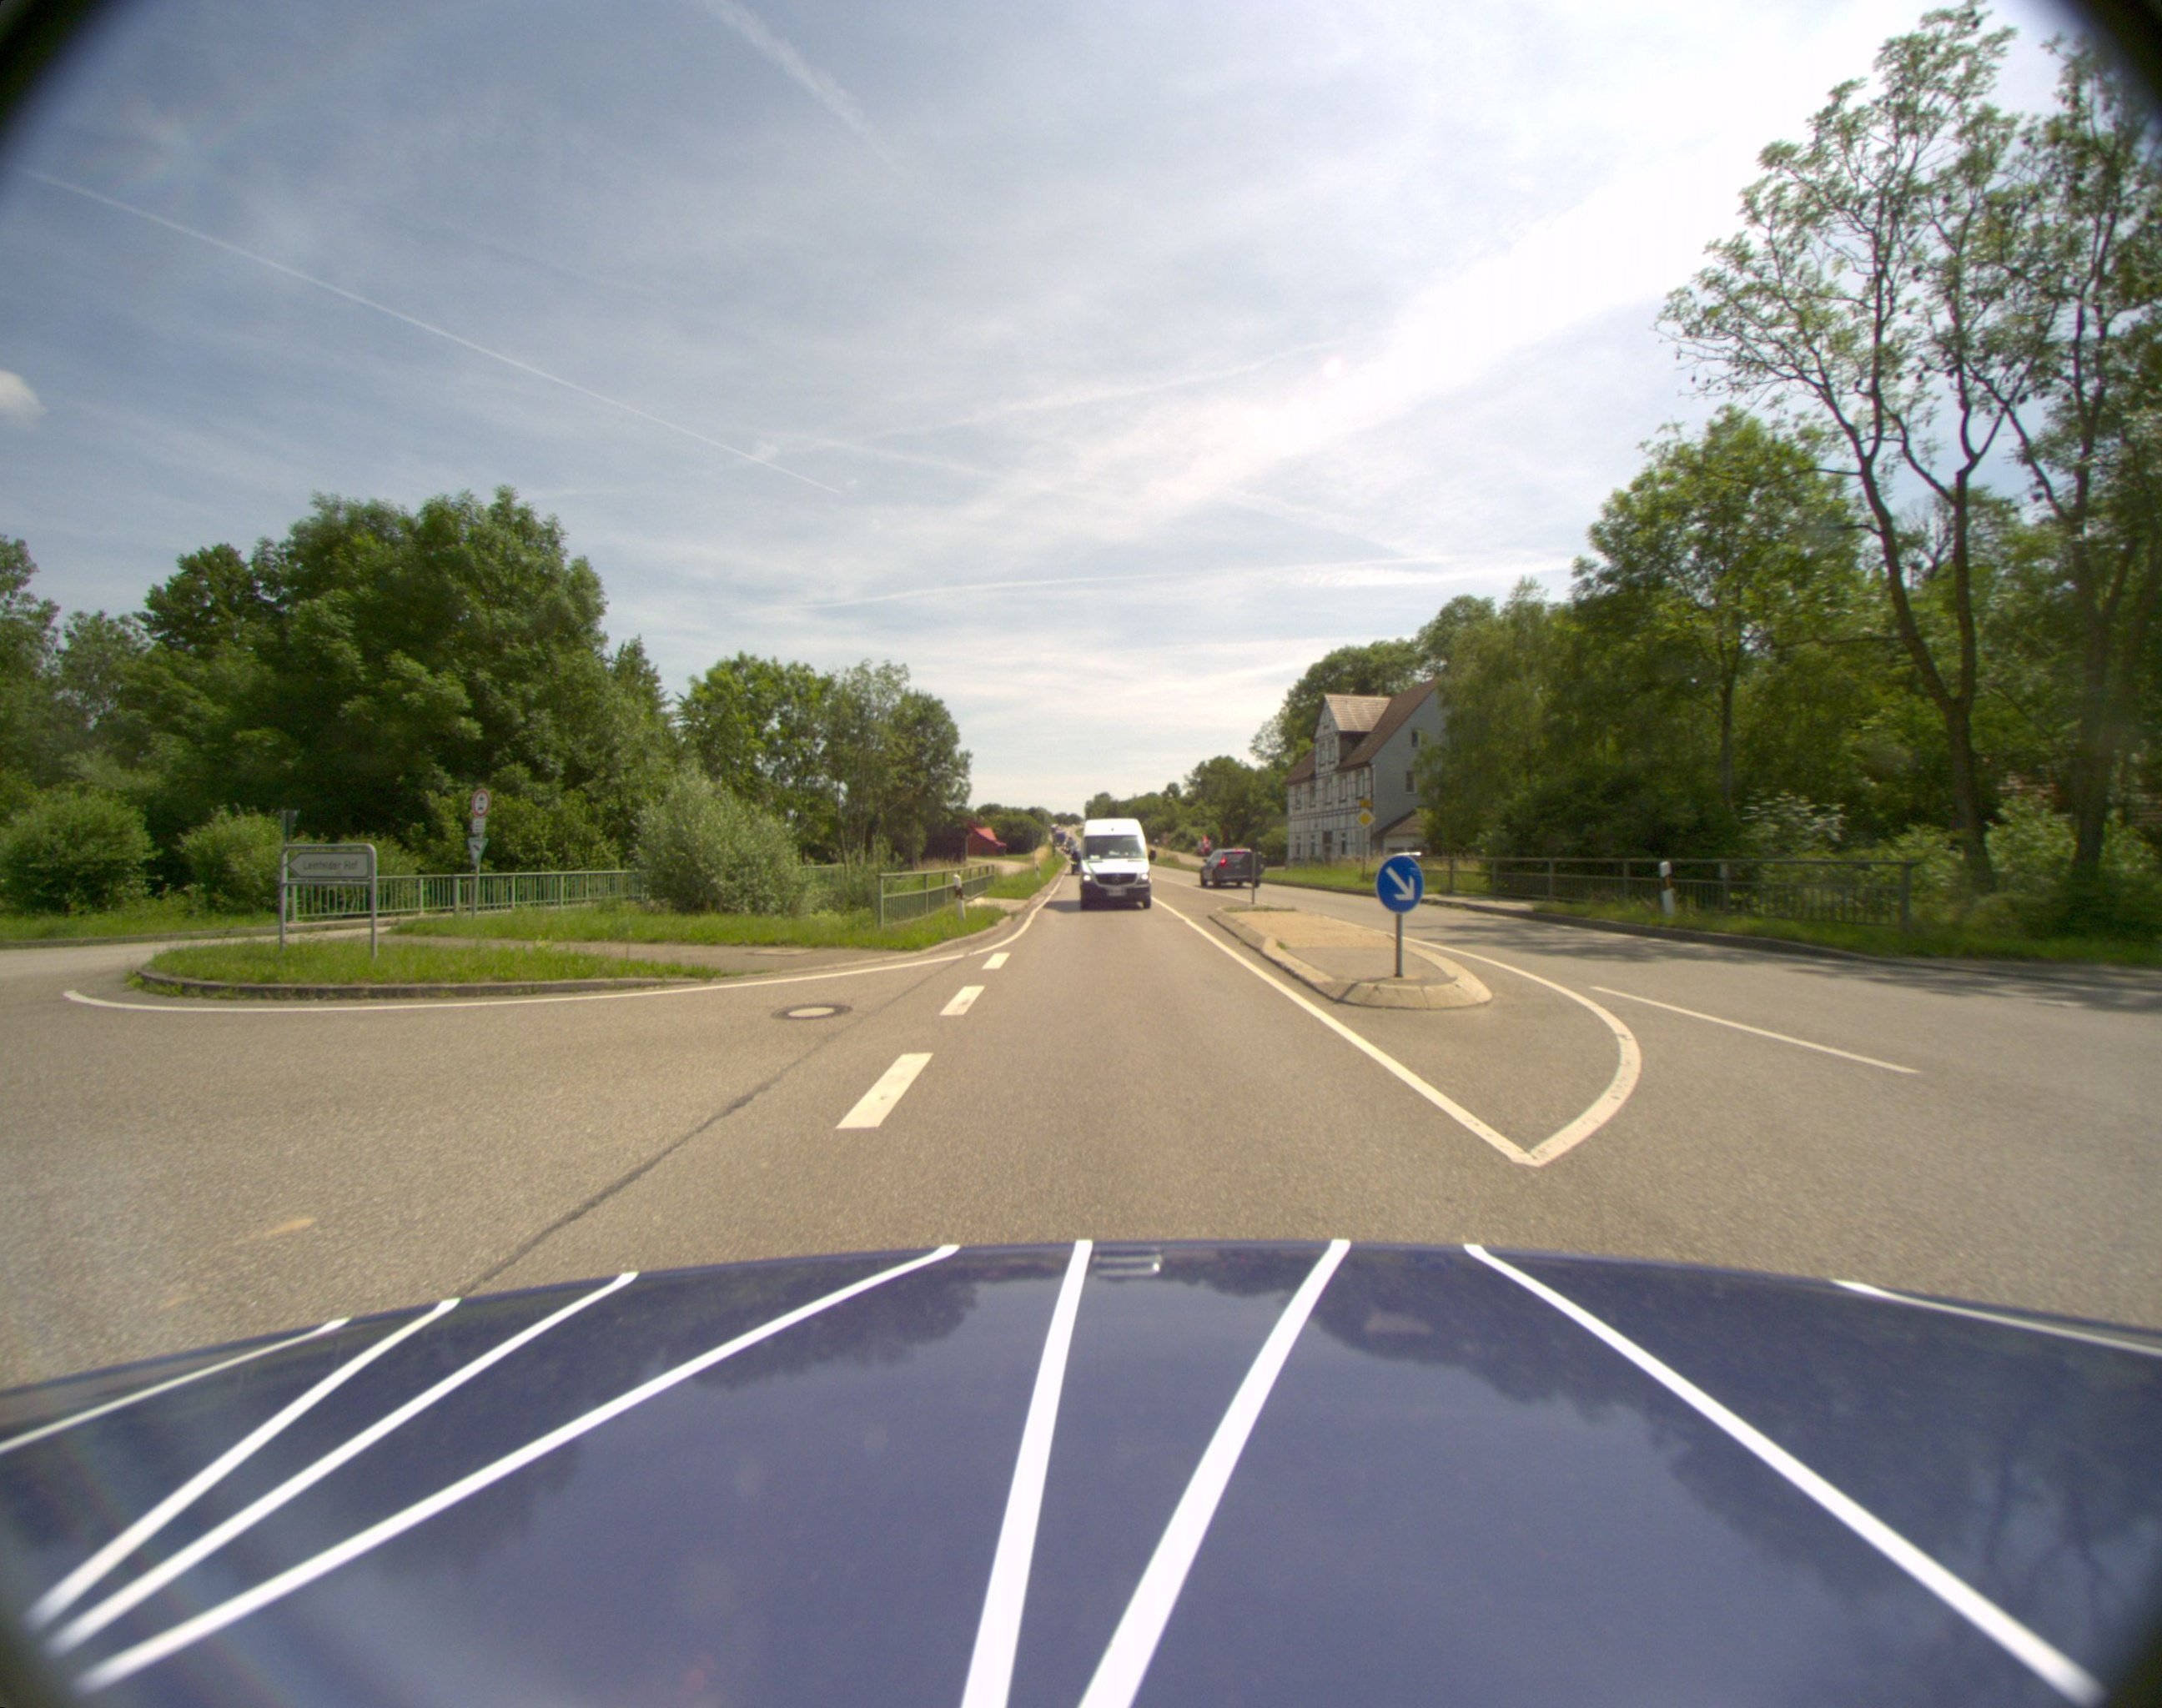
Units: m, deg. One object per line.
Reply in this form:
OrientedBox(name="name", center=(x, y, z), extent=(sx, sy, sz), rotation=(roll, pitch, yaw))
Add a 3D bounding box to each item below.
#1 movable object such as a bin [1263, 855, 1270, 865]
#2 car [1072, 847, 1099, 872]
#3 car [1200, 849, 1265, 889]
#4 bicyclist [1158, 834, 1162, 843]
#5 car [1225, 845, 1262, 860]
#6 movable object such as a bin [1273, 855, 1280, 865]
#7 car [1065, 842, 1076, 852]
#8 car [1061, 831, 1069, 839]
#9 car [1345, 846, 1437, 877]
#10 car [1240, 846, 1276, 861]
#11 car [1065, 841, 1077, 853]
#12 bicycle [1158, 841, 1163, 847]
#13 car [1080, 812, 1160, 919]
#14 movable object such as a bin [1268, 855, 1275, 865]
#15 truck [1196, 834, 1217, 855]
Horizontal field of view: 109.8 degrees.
OrientedBox(name="movable object such as a bin", center=(18.973, 0.644, 77.869), extent=(0.505, 0.964, 0.654), rotation=(-2, 3, -8))
OrientedBox(name="car", center=(0.318, 0.406, 54.525), extent=(1.848, 1.692, 4.243), rotation=(0, 0, 0))
OrientedBox(name="car", center=(6.524, 0.599, 33.225), extent=(1.953, 1.644, 4.431), rotation=(0, 0, 0))
OrientedBox(name="bicyclist", center=(15.440, -3.053, 148.270), extent=(0.750, 1.705, 0.936), rotation=(-2, 2, 2))
OrientedBox(name="car", center=(19.342, -0.214, 90.385), extent=(4.037, 1.609, 1.832), rotation=(-1, 2, 1))
OrientedBox(name="movable object such as a bin", center=(20.078, 0.625, 77.933), extent=(0.505, 0.971, 0.654), rotation=(-2, 3, -8))
OrientedBox(name="car", center=(-1.922, -1.351, 141.185), extent=(1.849, 1.693, 4.240), rotation=(0, 2, -2))
OrientedBox(name="car", center=(-4.491, -5.205, 210.758), extent=(1.998, 2.166, 3.999), rotation=(-2, 1, 1))
OrientedBox(name="car", center=(18.319, 0.440, 45.080), extent=(4.677, 1.710, 1.861), rotation=(-1, -1, -4))
OrientedBox(name="car", center=(18.719, -0.101, 80.316), extent=(3.387, 1.457, 1.609), rotation=(-2, 1, -6))
OrientedBox(name="car", center=(-1.721, -1.180, 125.746), extent=(1.849, 1.693, 4.240), rotation=(0, 2, -2))
OrientedBox(name="bicycle", center=(15.477, -1.916, 148.339), extent=(0.750, 1.174, 2.104), rotation=(-2, 2, 2))
OrientedBox(name="car", center=(0.980, 0.268, 21.917), extent=(1.961, 2.655, 5.680), rotation=(-1, 1, 0))
OrientedBox(name="movable object such as a bin", center=(19.543, 0.632, 77.853), extent=(0.505, 0.966, 0.654), rotation=(-2, 3, -8))
OrientedBox(name="truck", center=(18.348, -1.471, 111.276), extent=(2.031, 2.947, 6.771), rotation=(-2, 2, 1))
